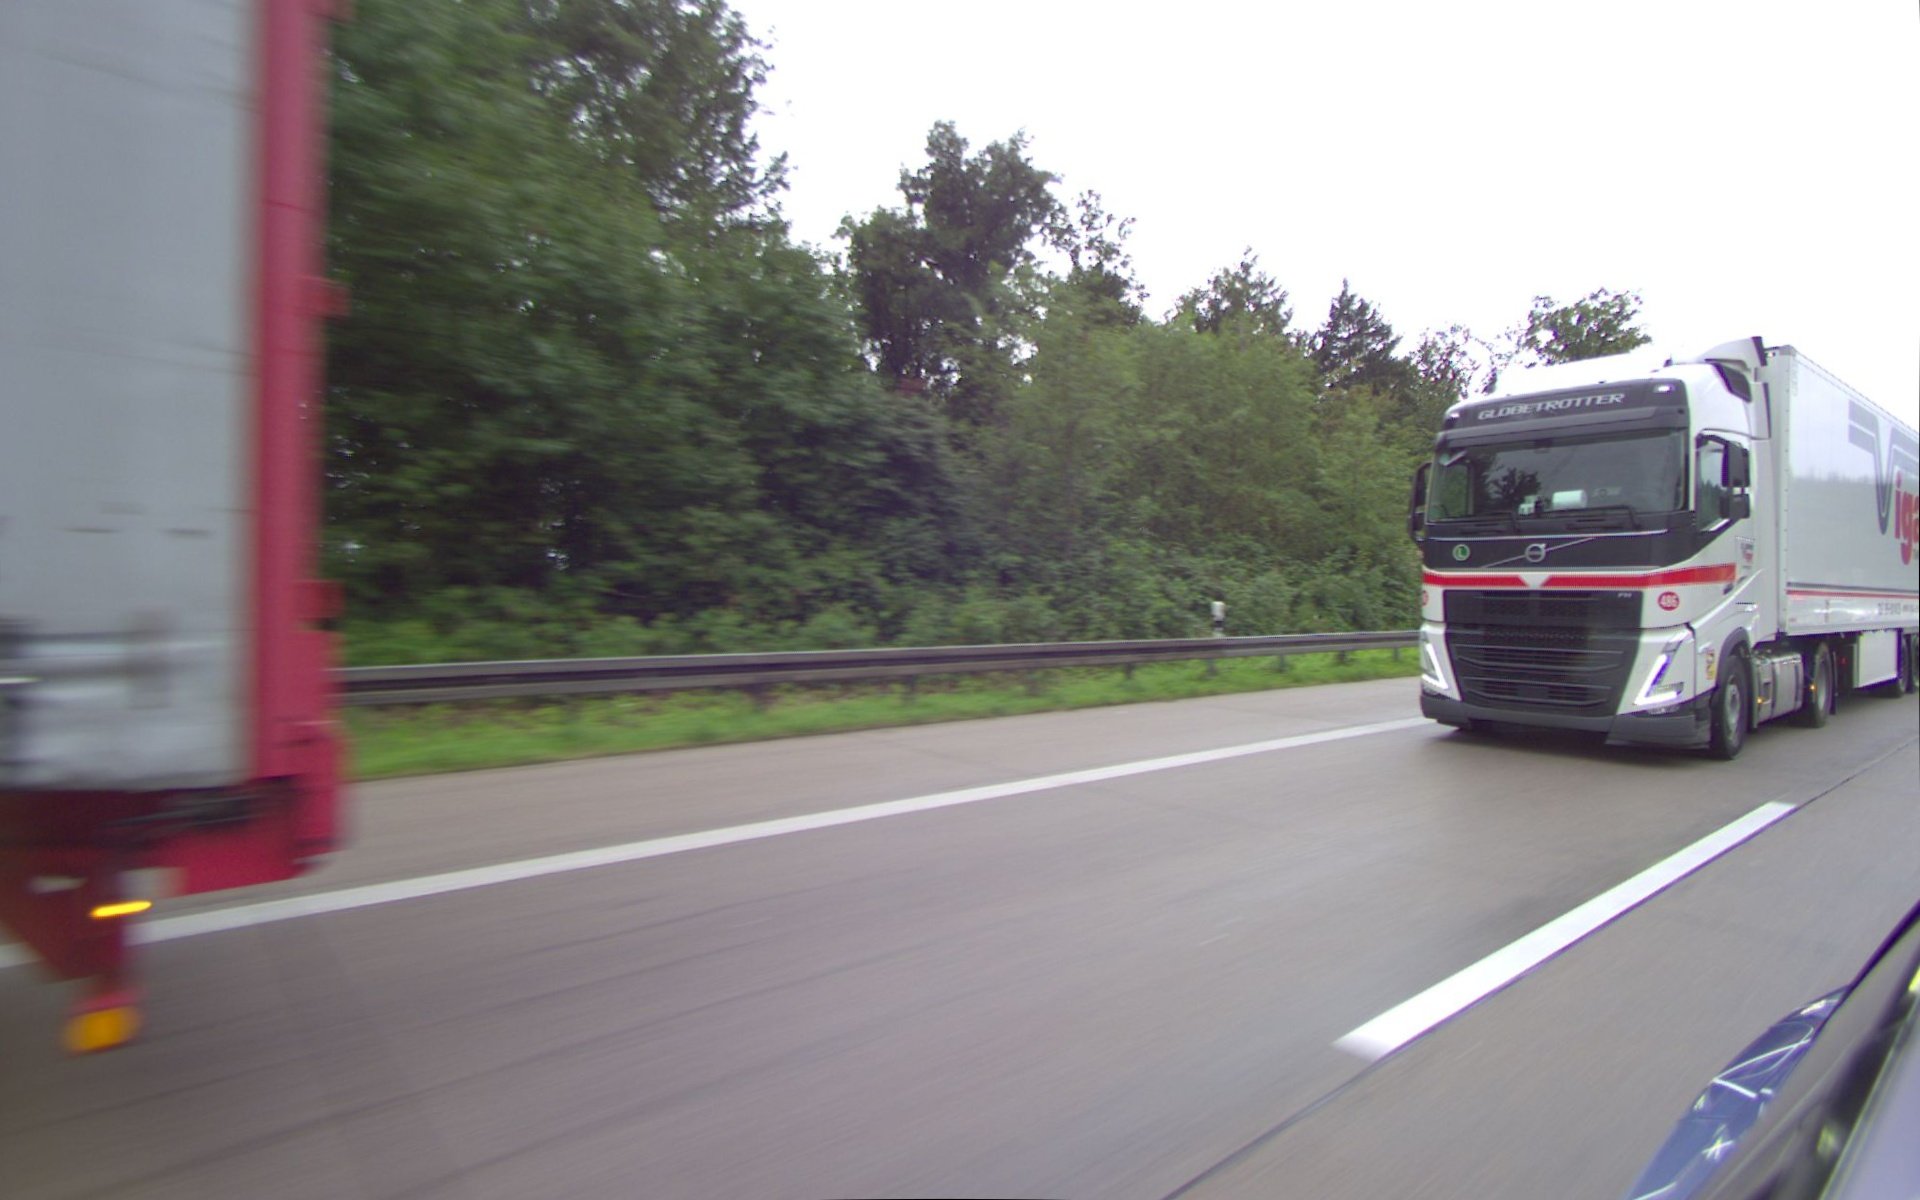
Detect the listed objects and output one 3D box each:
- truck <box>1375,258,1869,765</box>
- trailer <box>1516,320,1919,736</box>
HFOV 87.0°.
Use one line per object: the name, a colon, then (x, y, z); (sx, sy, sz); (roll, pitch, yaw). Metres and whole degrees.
truck: (7.487, -0.750, 11.203); (5.857, 4.155, 2.806); (0, 0, -37)
trailer: (12.815, -0.752, 15.411); (13.435, 4.155, 2.741); (0, 0, -39)
